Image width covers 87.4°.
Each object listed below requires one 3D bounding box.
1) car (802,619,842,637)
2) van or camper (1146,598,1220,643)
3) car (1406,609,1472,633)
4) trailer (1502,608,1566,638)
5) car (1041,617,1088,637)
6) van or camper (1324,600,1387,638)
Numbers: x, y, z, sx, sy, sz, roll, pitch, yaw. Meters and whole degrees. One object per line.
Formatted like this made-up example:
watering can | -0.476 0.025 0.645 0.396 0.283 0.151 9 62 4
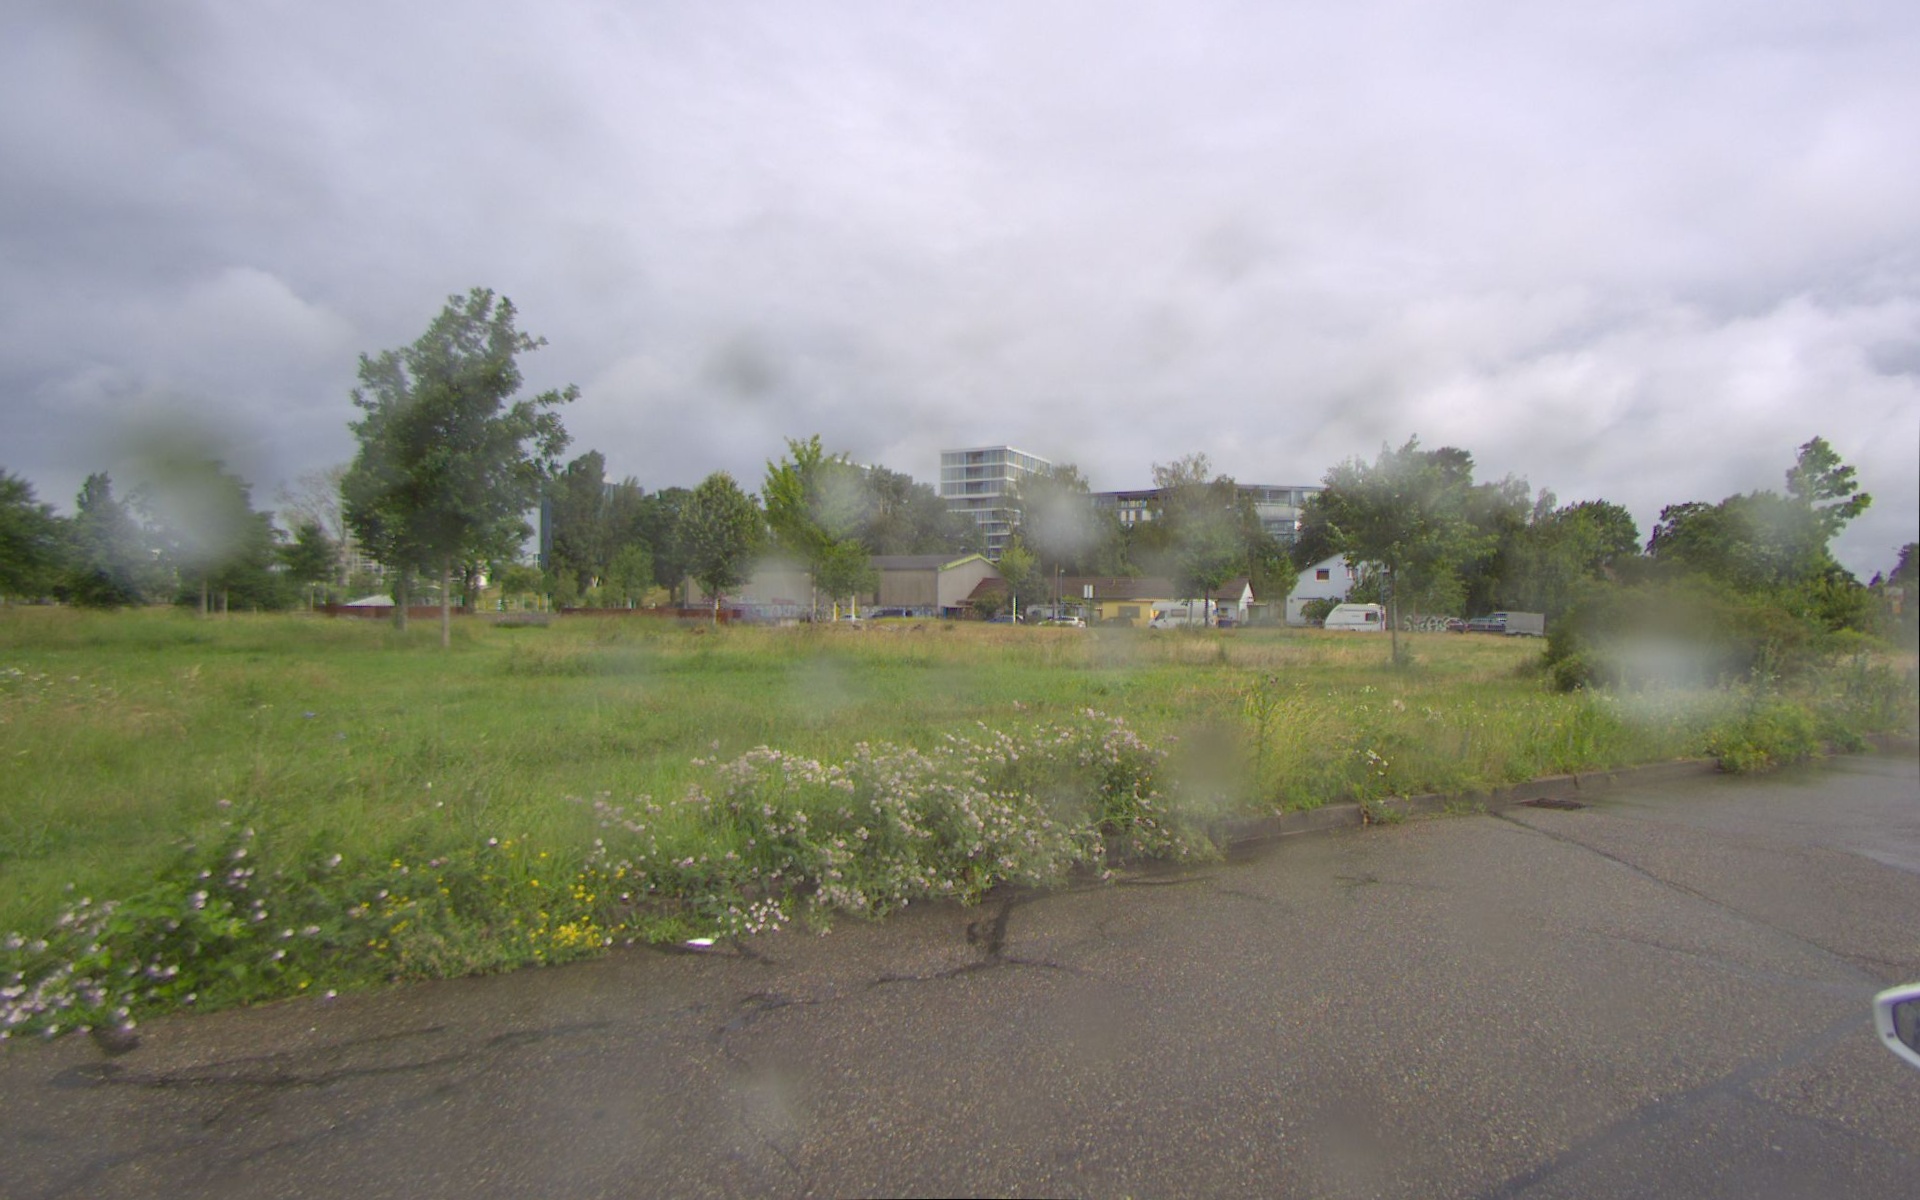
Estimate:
car | -14.735 2.982 107.189 3.929 1.751 1.996 0 -1 31
van or camper | 19.553 1.770 88.059 5.748 3.794 2.649 0 0 31
car | 37.164 1.608 77.923 4.440 1.799 1.996 0 -1 31
trailer | 43.153 1.707 75.635 4.038 2.117 1.842 2 0 29
car | 9.746 2.494 93.702 3.929 1.726 1.878 0 -1 31
van or camper | 31.947 1.526 81.149 4.436 2.985 2.478 0 -1 31
